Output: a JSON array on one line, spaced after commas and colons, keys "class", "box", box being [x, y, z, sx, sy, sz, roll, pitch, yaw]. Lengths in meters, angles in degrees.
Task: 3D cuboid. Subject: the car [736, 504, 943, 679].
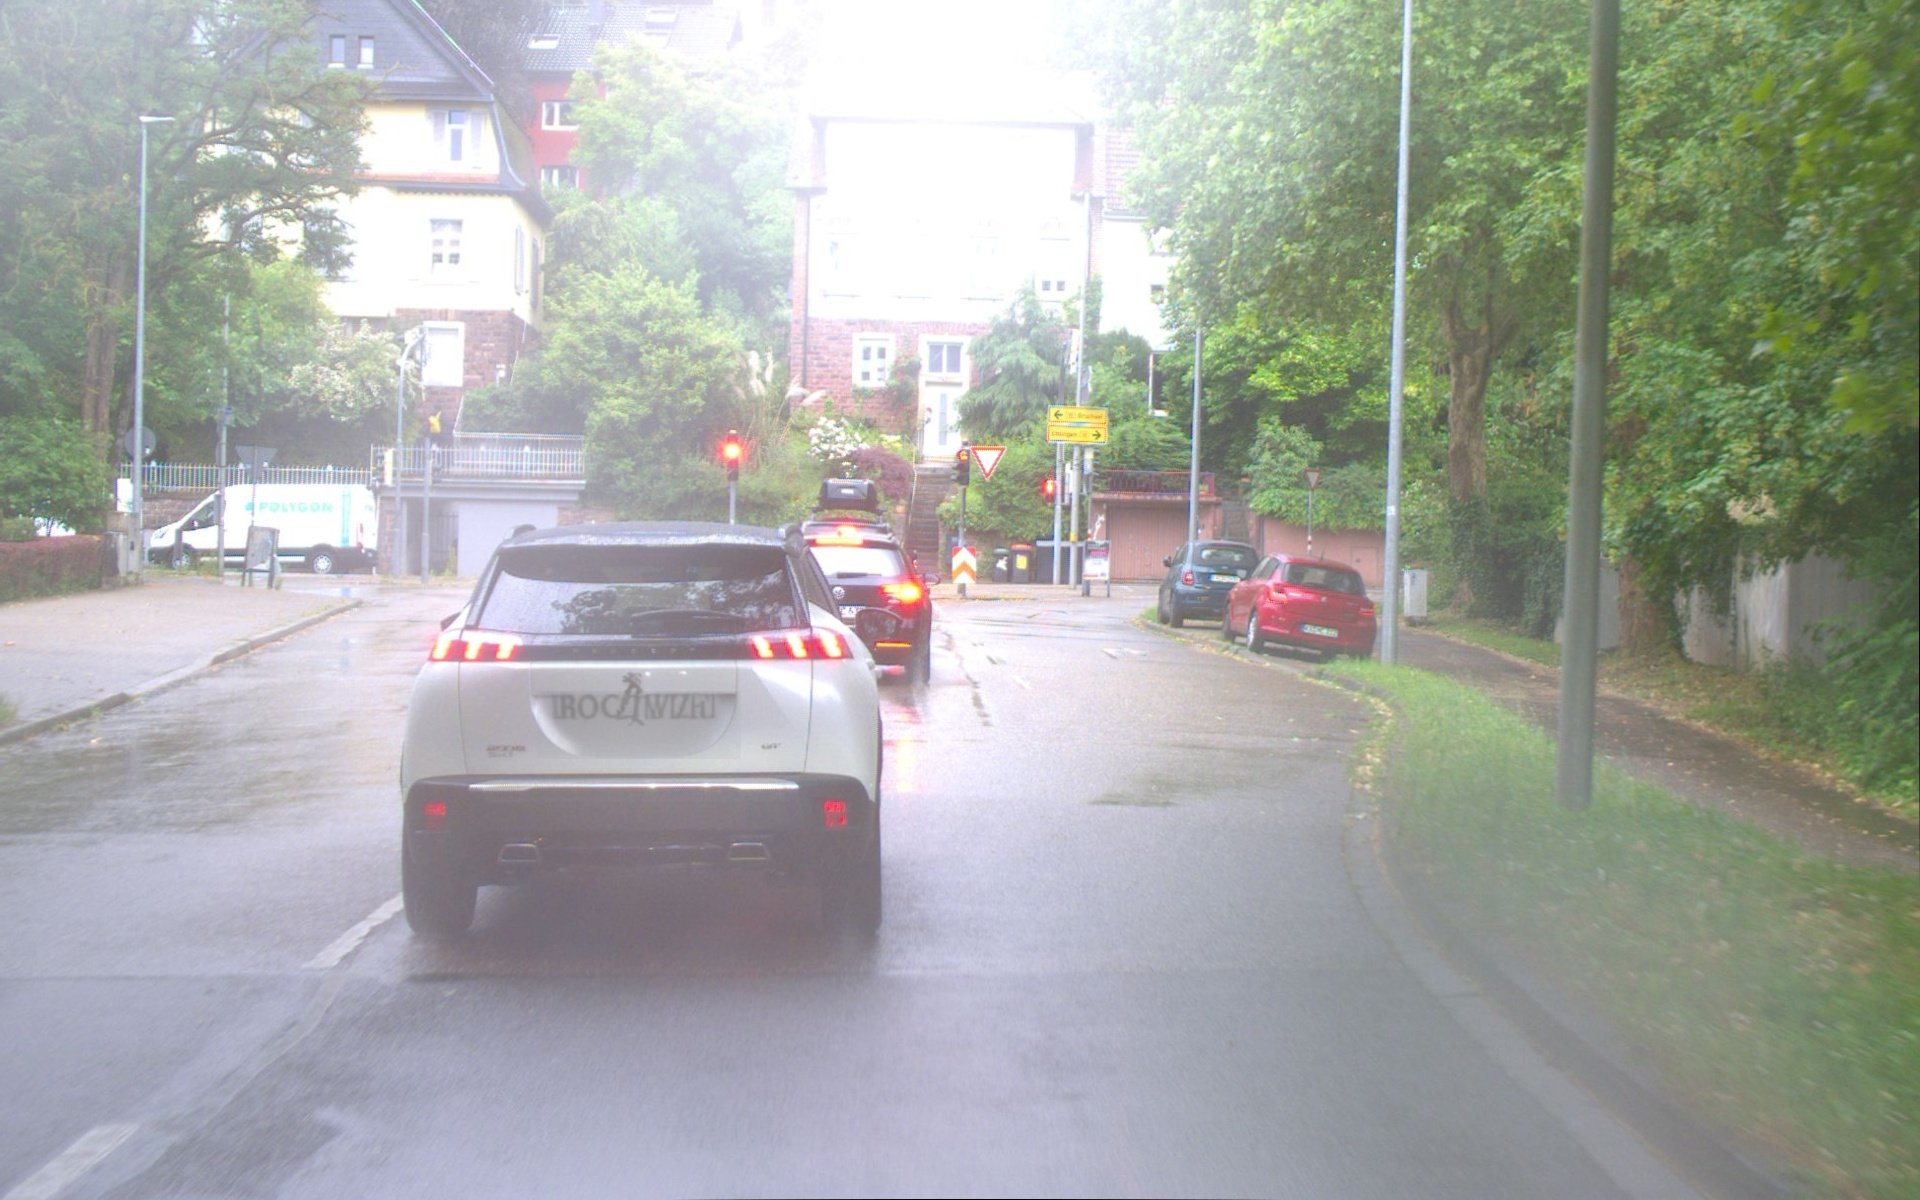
[{"class": "car", "box": [-1.174, -0.143, 34.431, 1.831, 1.451, 4.659, 4, 2, -1]}]

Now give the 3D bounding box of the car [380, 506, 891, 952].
[{"class": "car", "box": [-1.177, 0.400, 14.092, 1.752, 1.530, 4.368, 1, 1, -1]}]

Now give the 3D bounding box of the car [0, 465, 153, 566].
[{"class": "car", "box": [-24.604, -2.278, 91.585, 5.563, 2.485, 2.316, 2, 0, 0]}]

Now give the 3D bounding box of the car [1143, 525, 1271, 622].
[{"class": "car", "box": [4.211, -0.480, 59.082, 1.749, 1.486, 3.600, 4, 1, -2]}]

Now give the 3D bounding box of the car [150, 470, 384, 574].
[{"class": "car", "box": [-18.383, -2.047, 91.428, 5.660, 2.485, 2.316, 2, 0, 0]}]

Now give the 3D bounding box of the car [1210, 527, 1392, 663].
[{"class": "car", "box": [4.869, -0.108, 49.620, 1.819, 1.512, 3.744, 9, 2, -4]}]

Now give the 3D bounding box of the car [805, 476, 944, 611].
[{"class": "car", "box": [-1.247, -0.834, 48.203, 1.760, 1.705, 4.602, 3, 2, -3]}]
